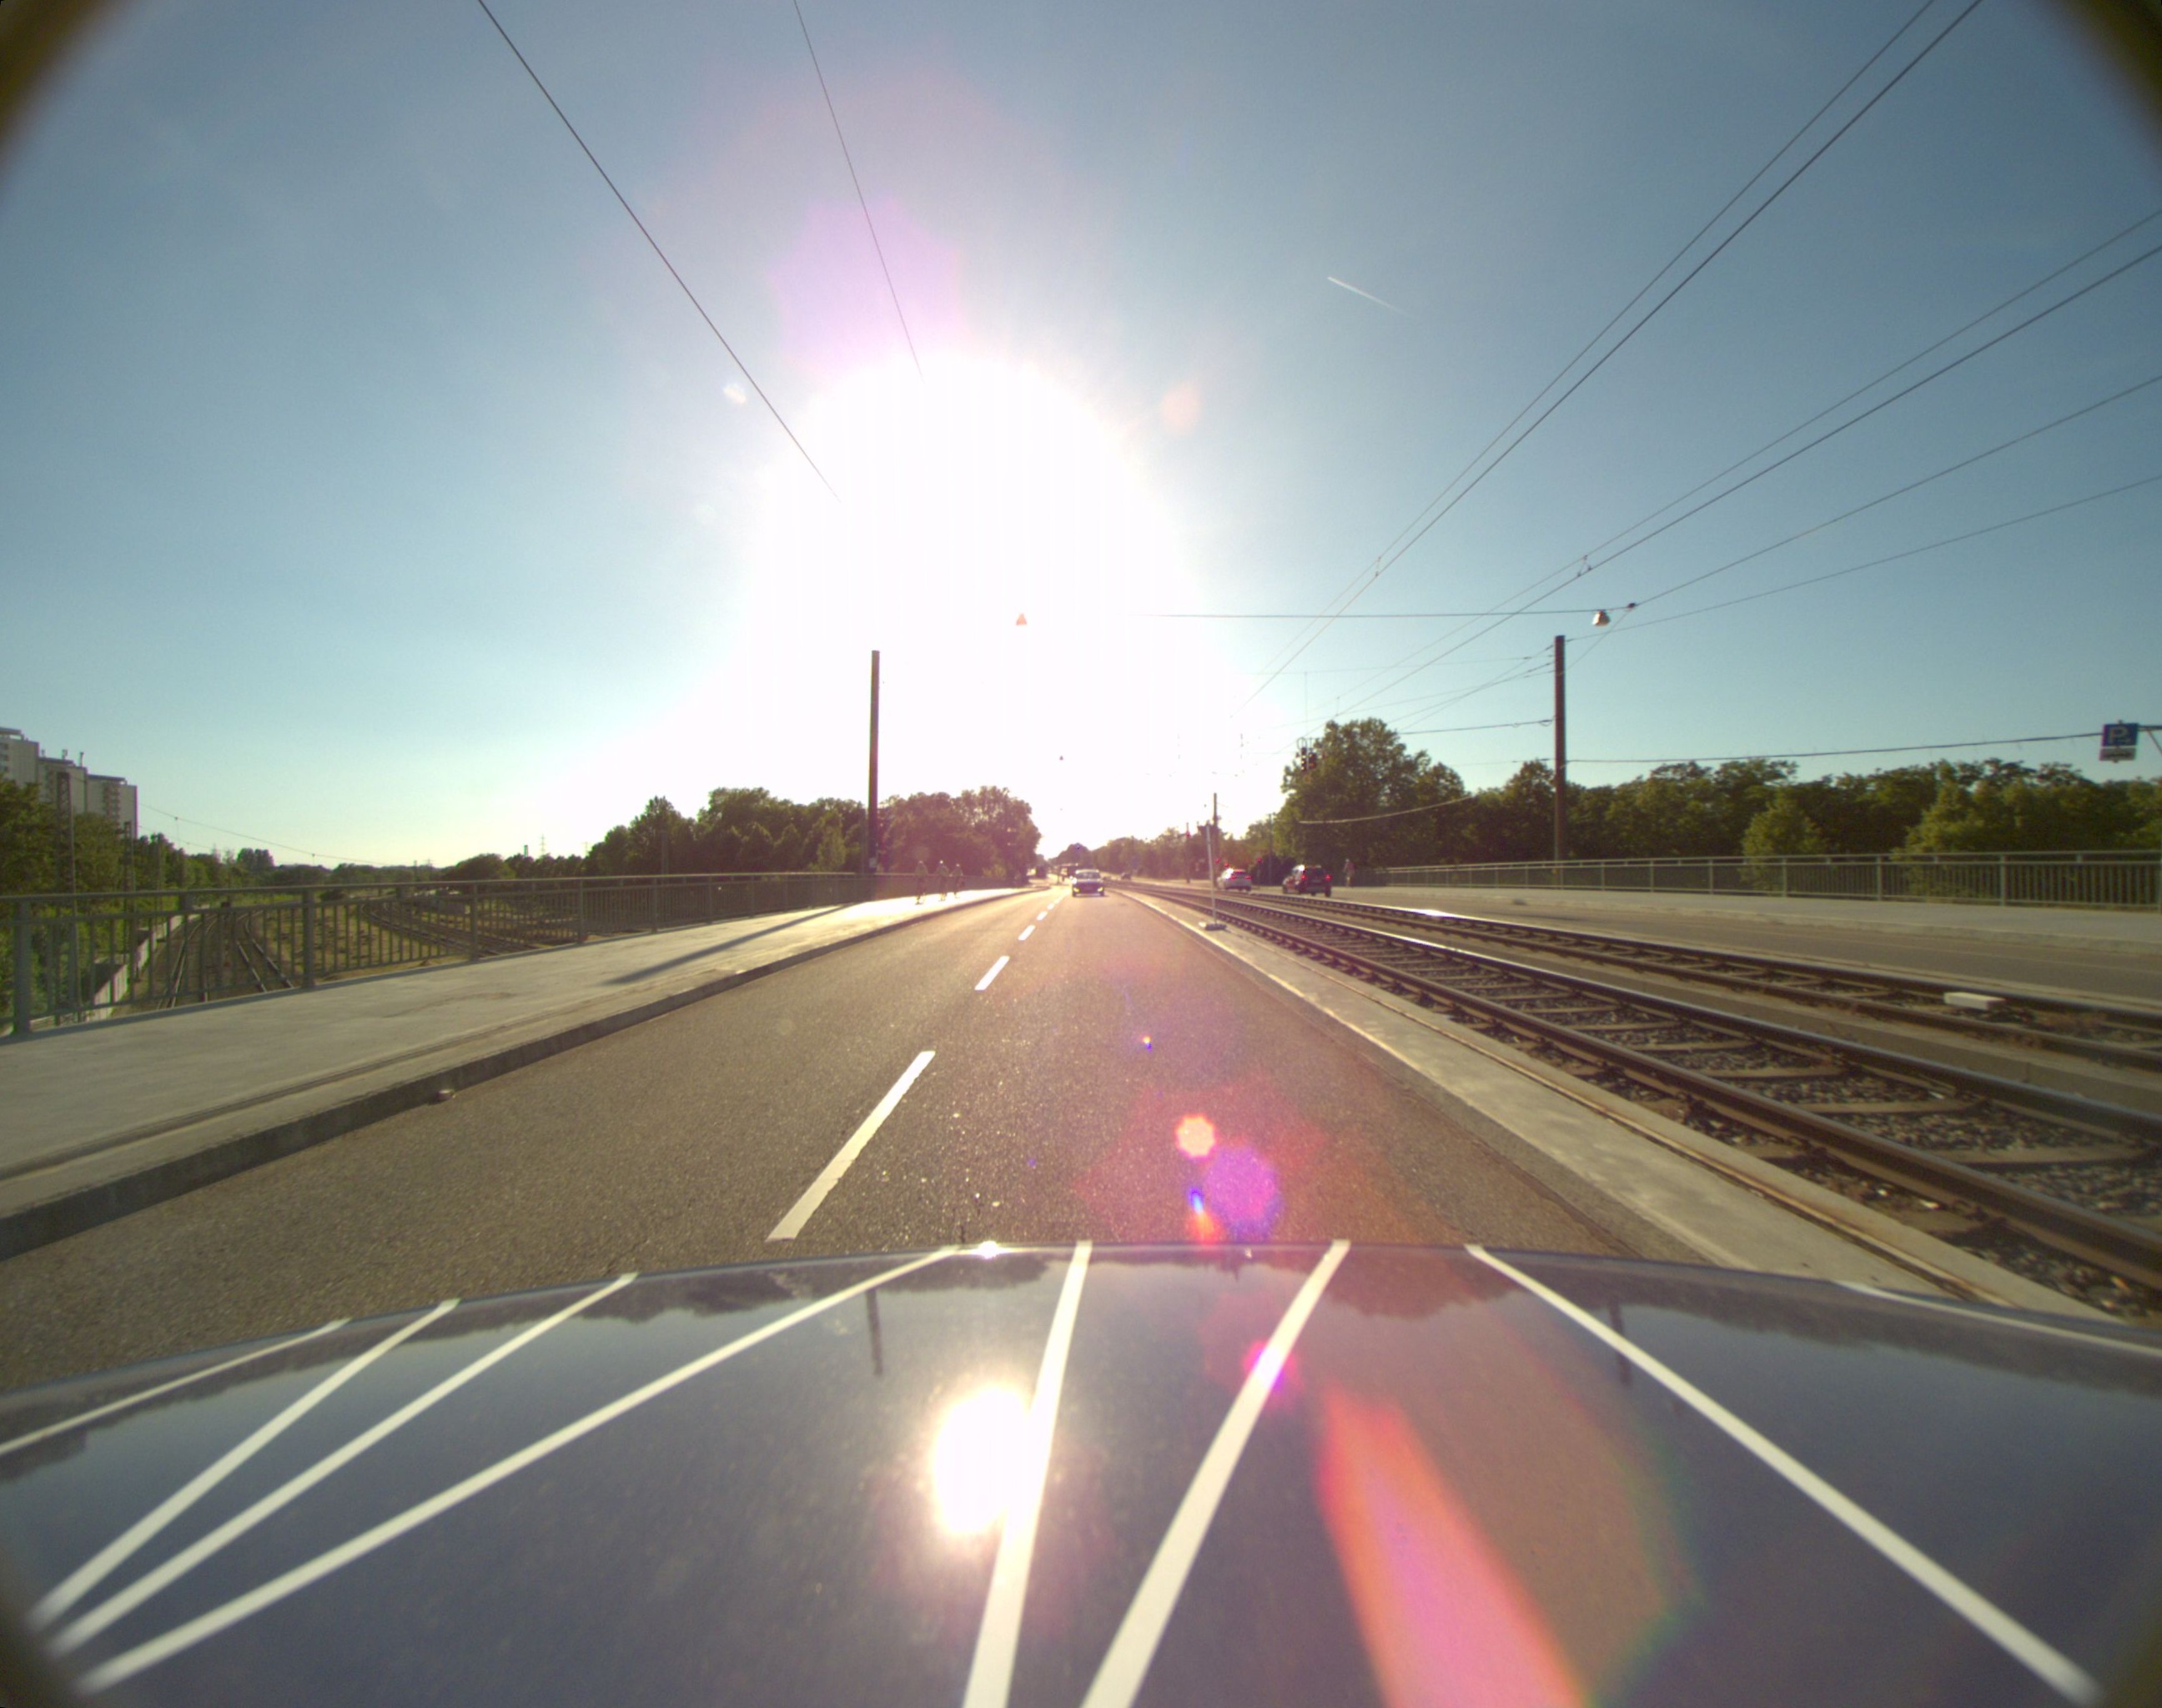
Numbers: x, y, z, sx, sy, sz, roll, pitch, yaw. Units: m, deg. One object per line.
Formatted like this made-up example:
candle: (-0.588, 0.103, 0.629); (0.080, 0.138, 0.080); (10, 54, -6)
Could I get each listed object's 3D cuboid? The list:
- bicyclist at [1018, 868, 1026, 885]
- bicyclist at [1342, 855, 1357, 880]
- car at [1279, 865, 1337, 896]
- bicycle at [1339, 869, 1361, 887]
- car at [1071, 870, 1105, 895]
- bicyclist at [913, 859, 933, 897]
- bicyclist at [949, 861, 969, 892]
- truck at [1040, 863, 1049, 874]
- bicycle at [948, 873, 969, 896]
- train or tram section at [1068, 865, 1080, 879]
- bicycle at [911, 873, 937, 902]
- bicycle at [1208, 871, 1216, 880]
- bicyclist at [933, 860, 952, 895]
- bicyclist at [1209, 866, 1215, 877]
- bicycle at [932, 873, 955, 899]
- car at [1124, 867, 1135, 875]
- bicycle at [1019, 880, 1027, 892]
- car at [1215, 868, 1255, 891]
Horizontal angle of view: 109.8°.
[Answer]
bicyclist: (-6.008, 2.267, 77.624); (0.733, 1.679, 1.202); (-4, -1, -3)
bicyclist: (17.838, 0.918, 50.428); (0.627, 1.623, 0.935); (-2, 0, -1)
car: (11.558, 1.332, 38.916); (1.812, 1.510, 4.001); (0, -1, 0)
bicycle: (17.858, 1.584, 50.490); (0.627, 1.116, 2.259); (-2, -1, -1)
car: (0.373, 1.574, 42.777); (1.802, 1.345, 4.000); (0, -1, 0)
bicyclist: (-6.495, 0.982, 31.305); (0.627, 1.499, 1.006); (-2, -1, -2)
bicyclist: (-6.268, 1.160, 39.076); (0.814, 1.553, 0.897); (-2, -2, 0)
truck: (-10.971, 4.283, 229.652); (2.611, 3.185, 7.868); (-1, -1, -4)
bicycle: (-6.267, 1.565, 39.048); (0.685, 1.115, 2.217); (-2, -2, 0)
train or tram section: (-2.171, 5.257, 219.017); (2.570, 3.877, 11.668); (-1, -1, -4)
bicycle: (-6.466, 1.355, 31.341); (0.627, 1.115, 2.260); (-2, -1, -2)
bicycle: (17.397, 2.848, 100.847); (0.626, 1.116, 2.260); (-2, -1, 1)
bicyclist: (-6.380, 1.094, 35.044); (0.626, 1.583, 0.931); (-2, 0, 0)
bicyclist: (17.381, 2.347, 100.810); (0.626, 1.424, 0.969); (-2, 0, 1)
bicycle: (-6.333, 1.455, 35.060); (0.626, 1.116, 2.042); (-2, -1, 0)
car: (9.998, 3.522, 156.951); (1.853, 1.493, 4.219); (-1, -1, 0)
bicycle: (-5.930, 3.236, 77.592); (0.733, 1.116, 2.742); (-4, -1, -3)
car: (11.819, 1.892, 58.574); (2.006, 1.627, 5.091); (-1, -1, 0)
